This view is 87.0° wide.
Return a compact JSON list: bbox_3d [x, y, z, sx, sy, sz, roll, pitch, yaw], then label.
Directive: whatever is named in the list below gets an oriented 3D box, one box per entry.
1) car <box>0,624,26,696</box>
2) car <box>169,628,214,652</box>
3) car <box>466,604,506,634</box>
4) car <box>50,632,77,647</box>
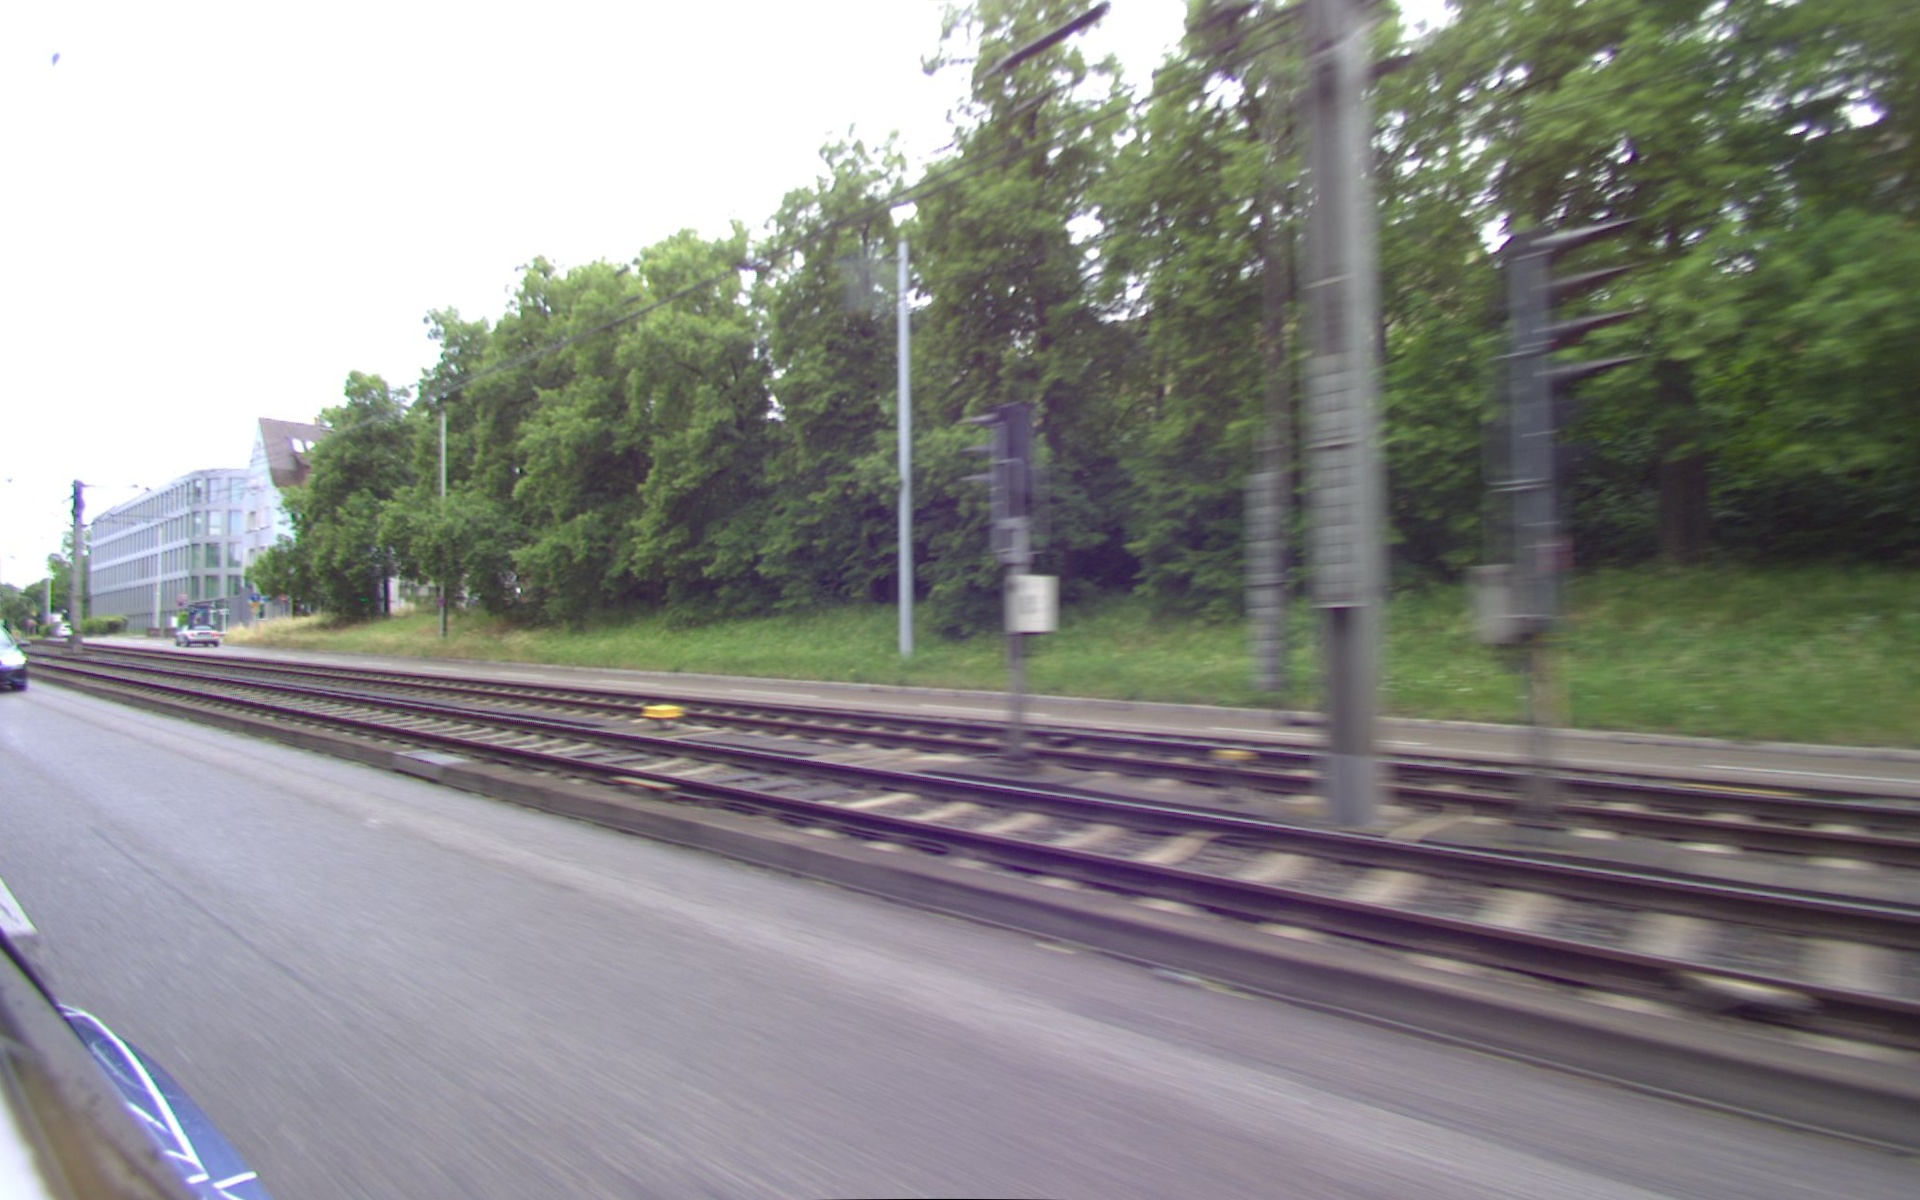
[{"bbox_3d":[-21.202,1.242,21.391,3.831,1.459,1.748,-1,-2,41],"label":"car"},{"bbox_3d":[-48.140,2.482,63.394,3.908,1.447,1.460,-1,-4,42],"label":"car"},{"bbox_3d":[-33.122,1.336,70.692,1.934,2.029,4.228,1,-2,-33],"label":"car"},{"bbox_3d":[-95.426,4.198,107.705,4.379,1.541,1.635,-2,-2,42],"label":"car"}]
